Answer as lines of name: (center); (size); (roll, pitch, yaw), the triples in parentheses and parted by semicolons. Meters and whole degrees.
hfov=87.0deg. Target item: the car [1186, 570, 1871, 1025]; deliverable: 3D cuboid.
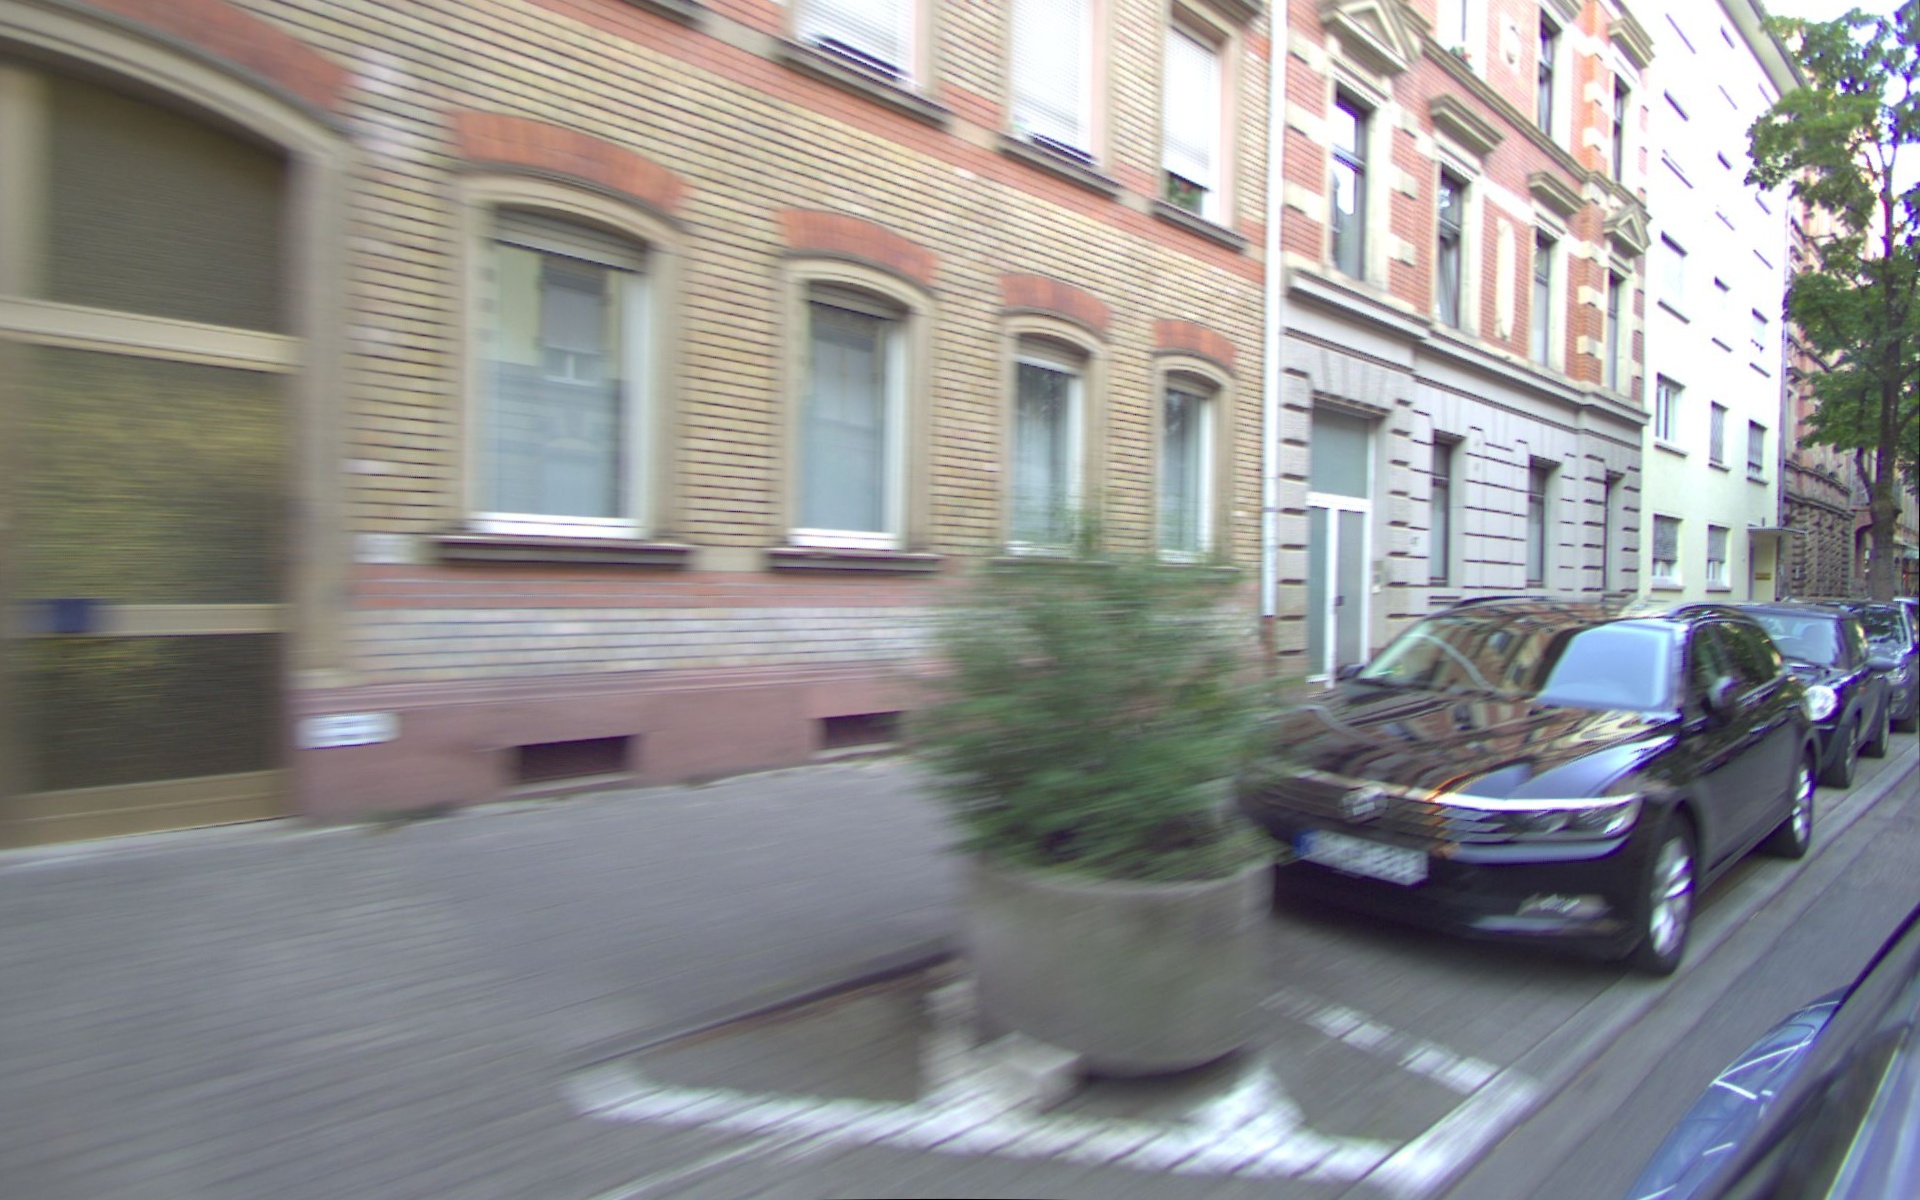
car: (3.297, 0.622, 5.422); (4.395, 1.432, 1.770); (0, 3, -41)

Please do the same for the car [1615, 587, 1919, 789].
car: (7.473, 0.635, 9.250); (3.504, 1.441, 1.638); (0, 2, -42)

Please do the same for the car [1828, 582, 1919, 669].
car: (17.955, 0.440, 19.160); (4.233, 1.481, 1.761); (0, 2, -42)

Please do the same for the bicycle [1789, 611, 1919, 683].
bicycle: (13.663, 0.697, 15.083); (1.904, 0.994, 0.632); (1, 1, 28)

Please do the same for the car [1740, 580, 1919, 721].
car: (11.622, 0.543, 13.086); (4.294, 1.494, 1.719); (0, 3, -43)
